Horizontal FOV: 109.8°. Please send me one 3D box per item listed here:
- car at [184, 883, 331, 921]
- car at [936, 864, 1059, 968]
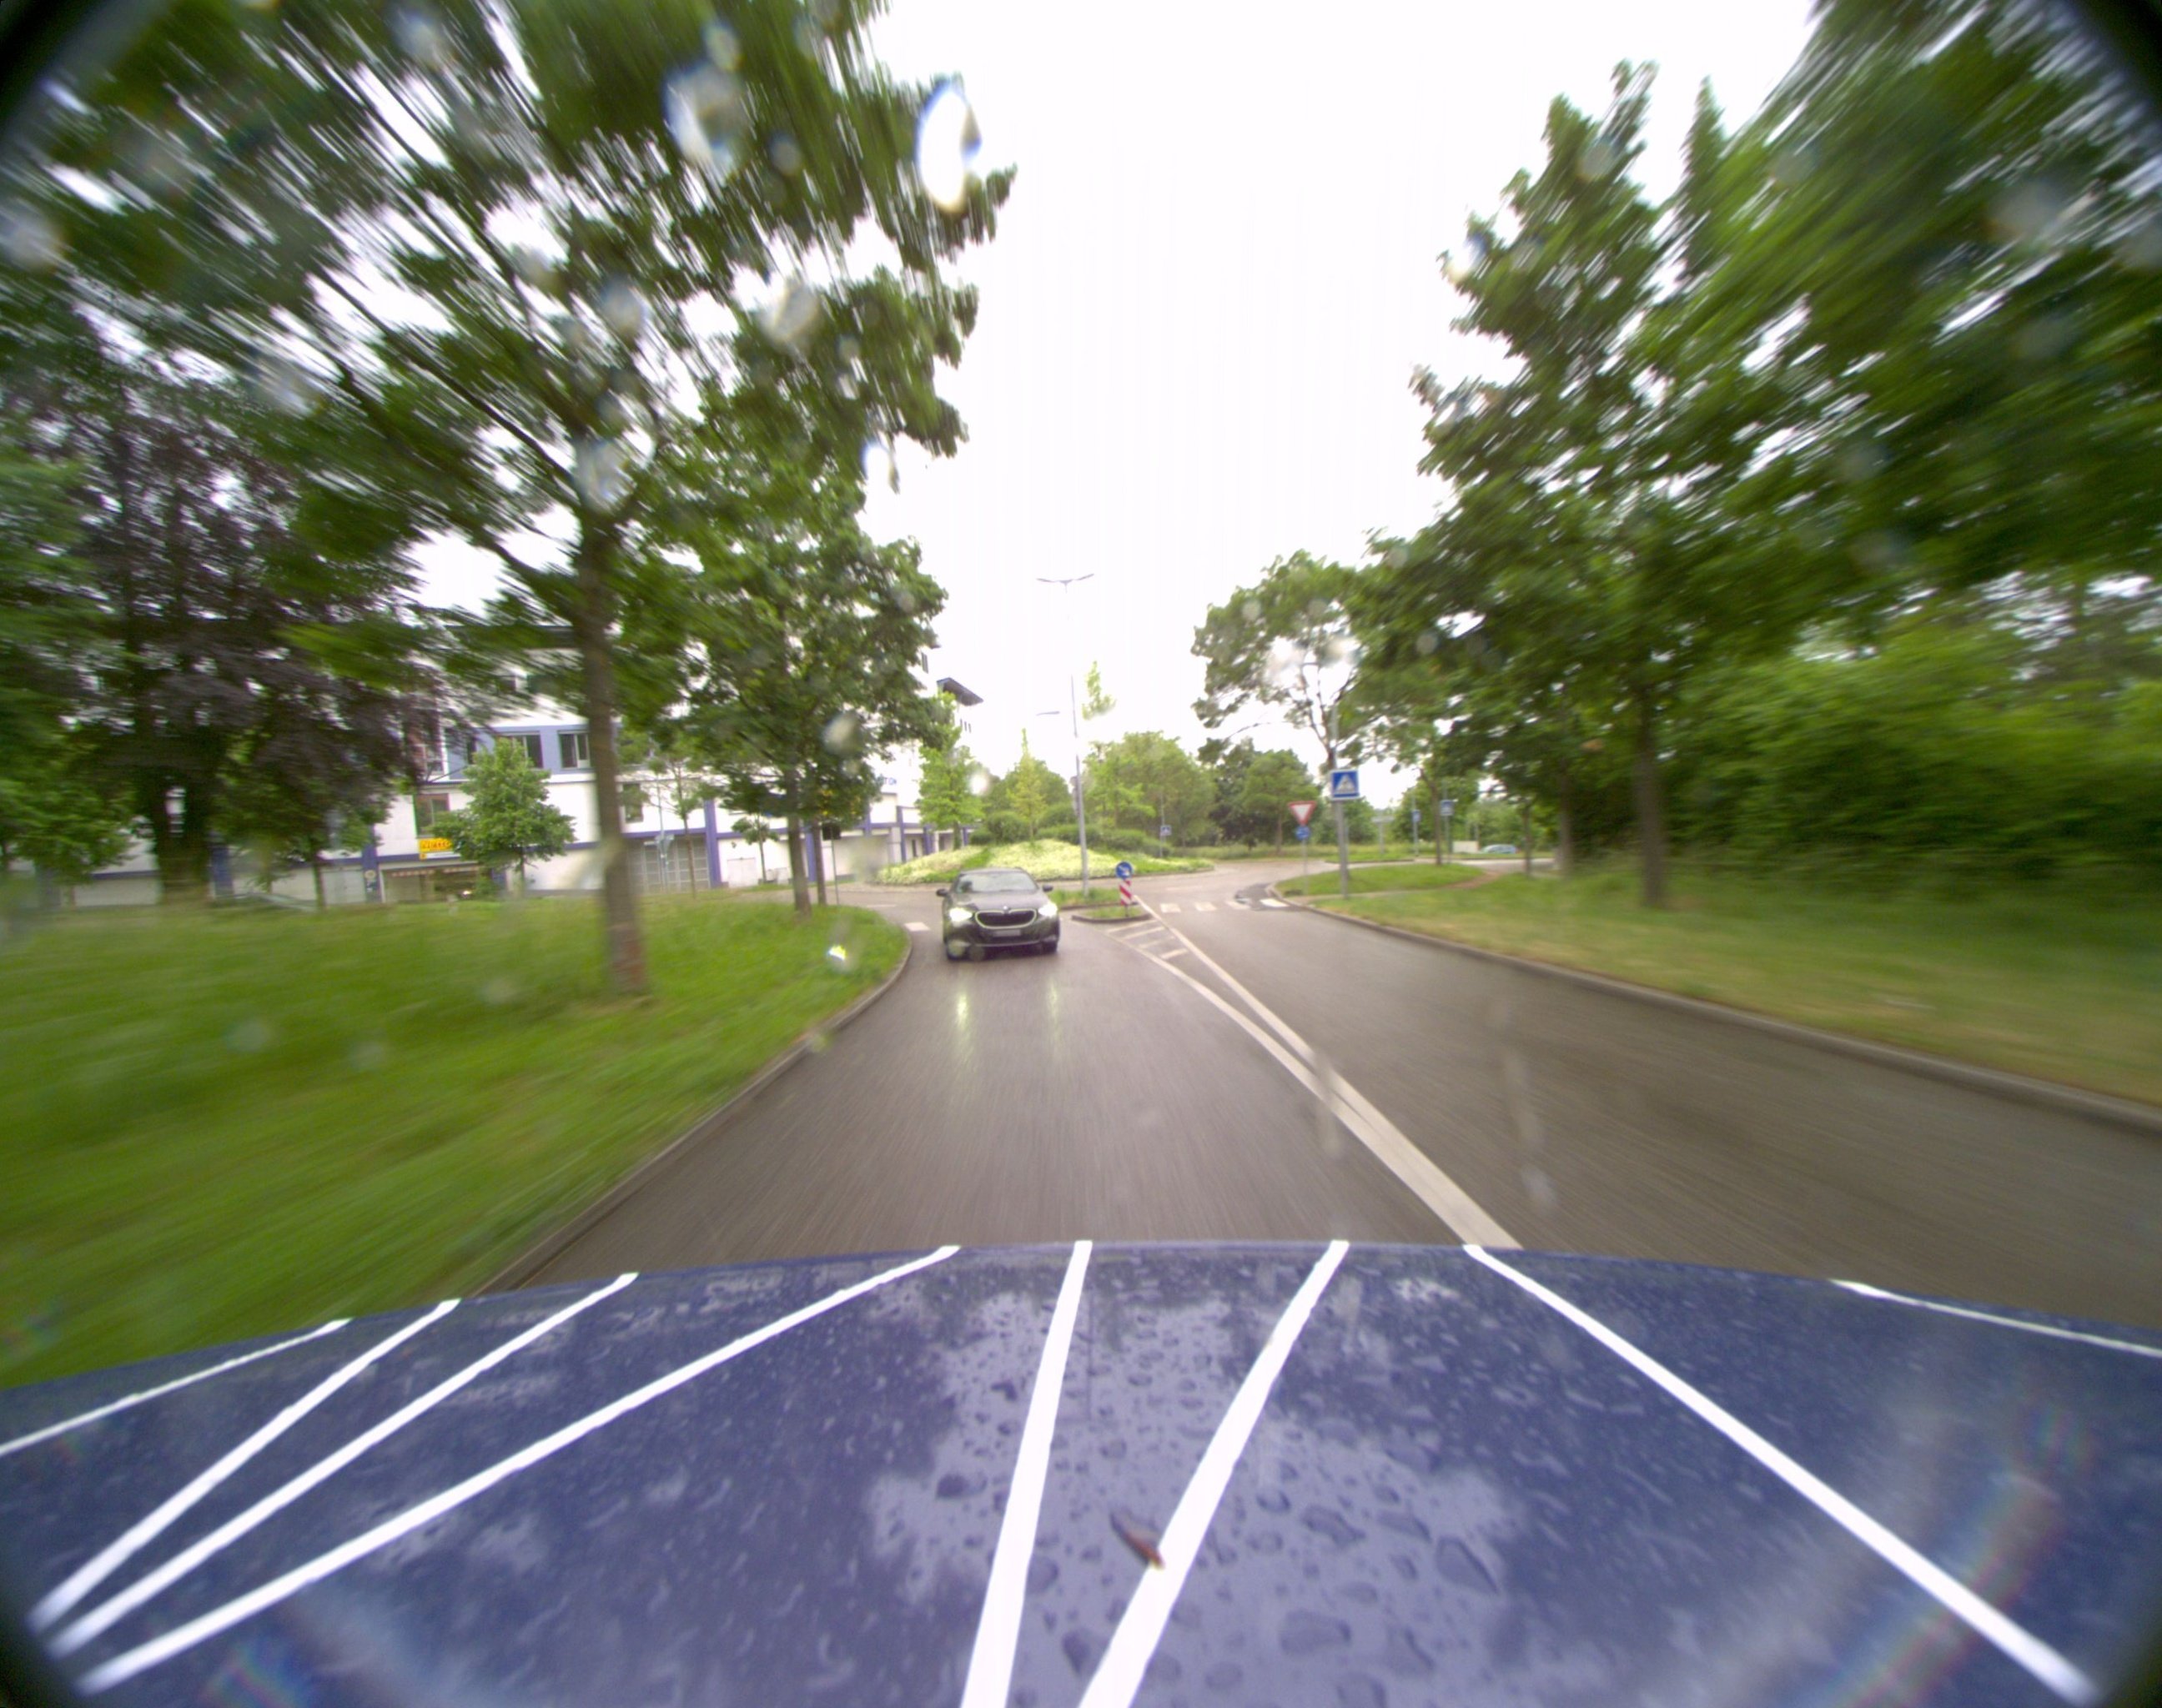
[{"bbox_3d":[-36.255,2.082,33.576,4.003,1.401,1.797,-2,1,-18],"label":"car"},{"bbox_3d":[-1.632,0.983,13.891,1.846,1.471,3.996,-3,1,-10],"label":"car"}]
